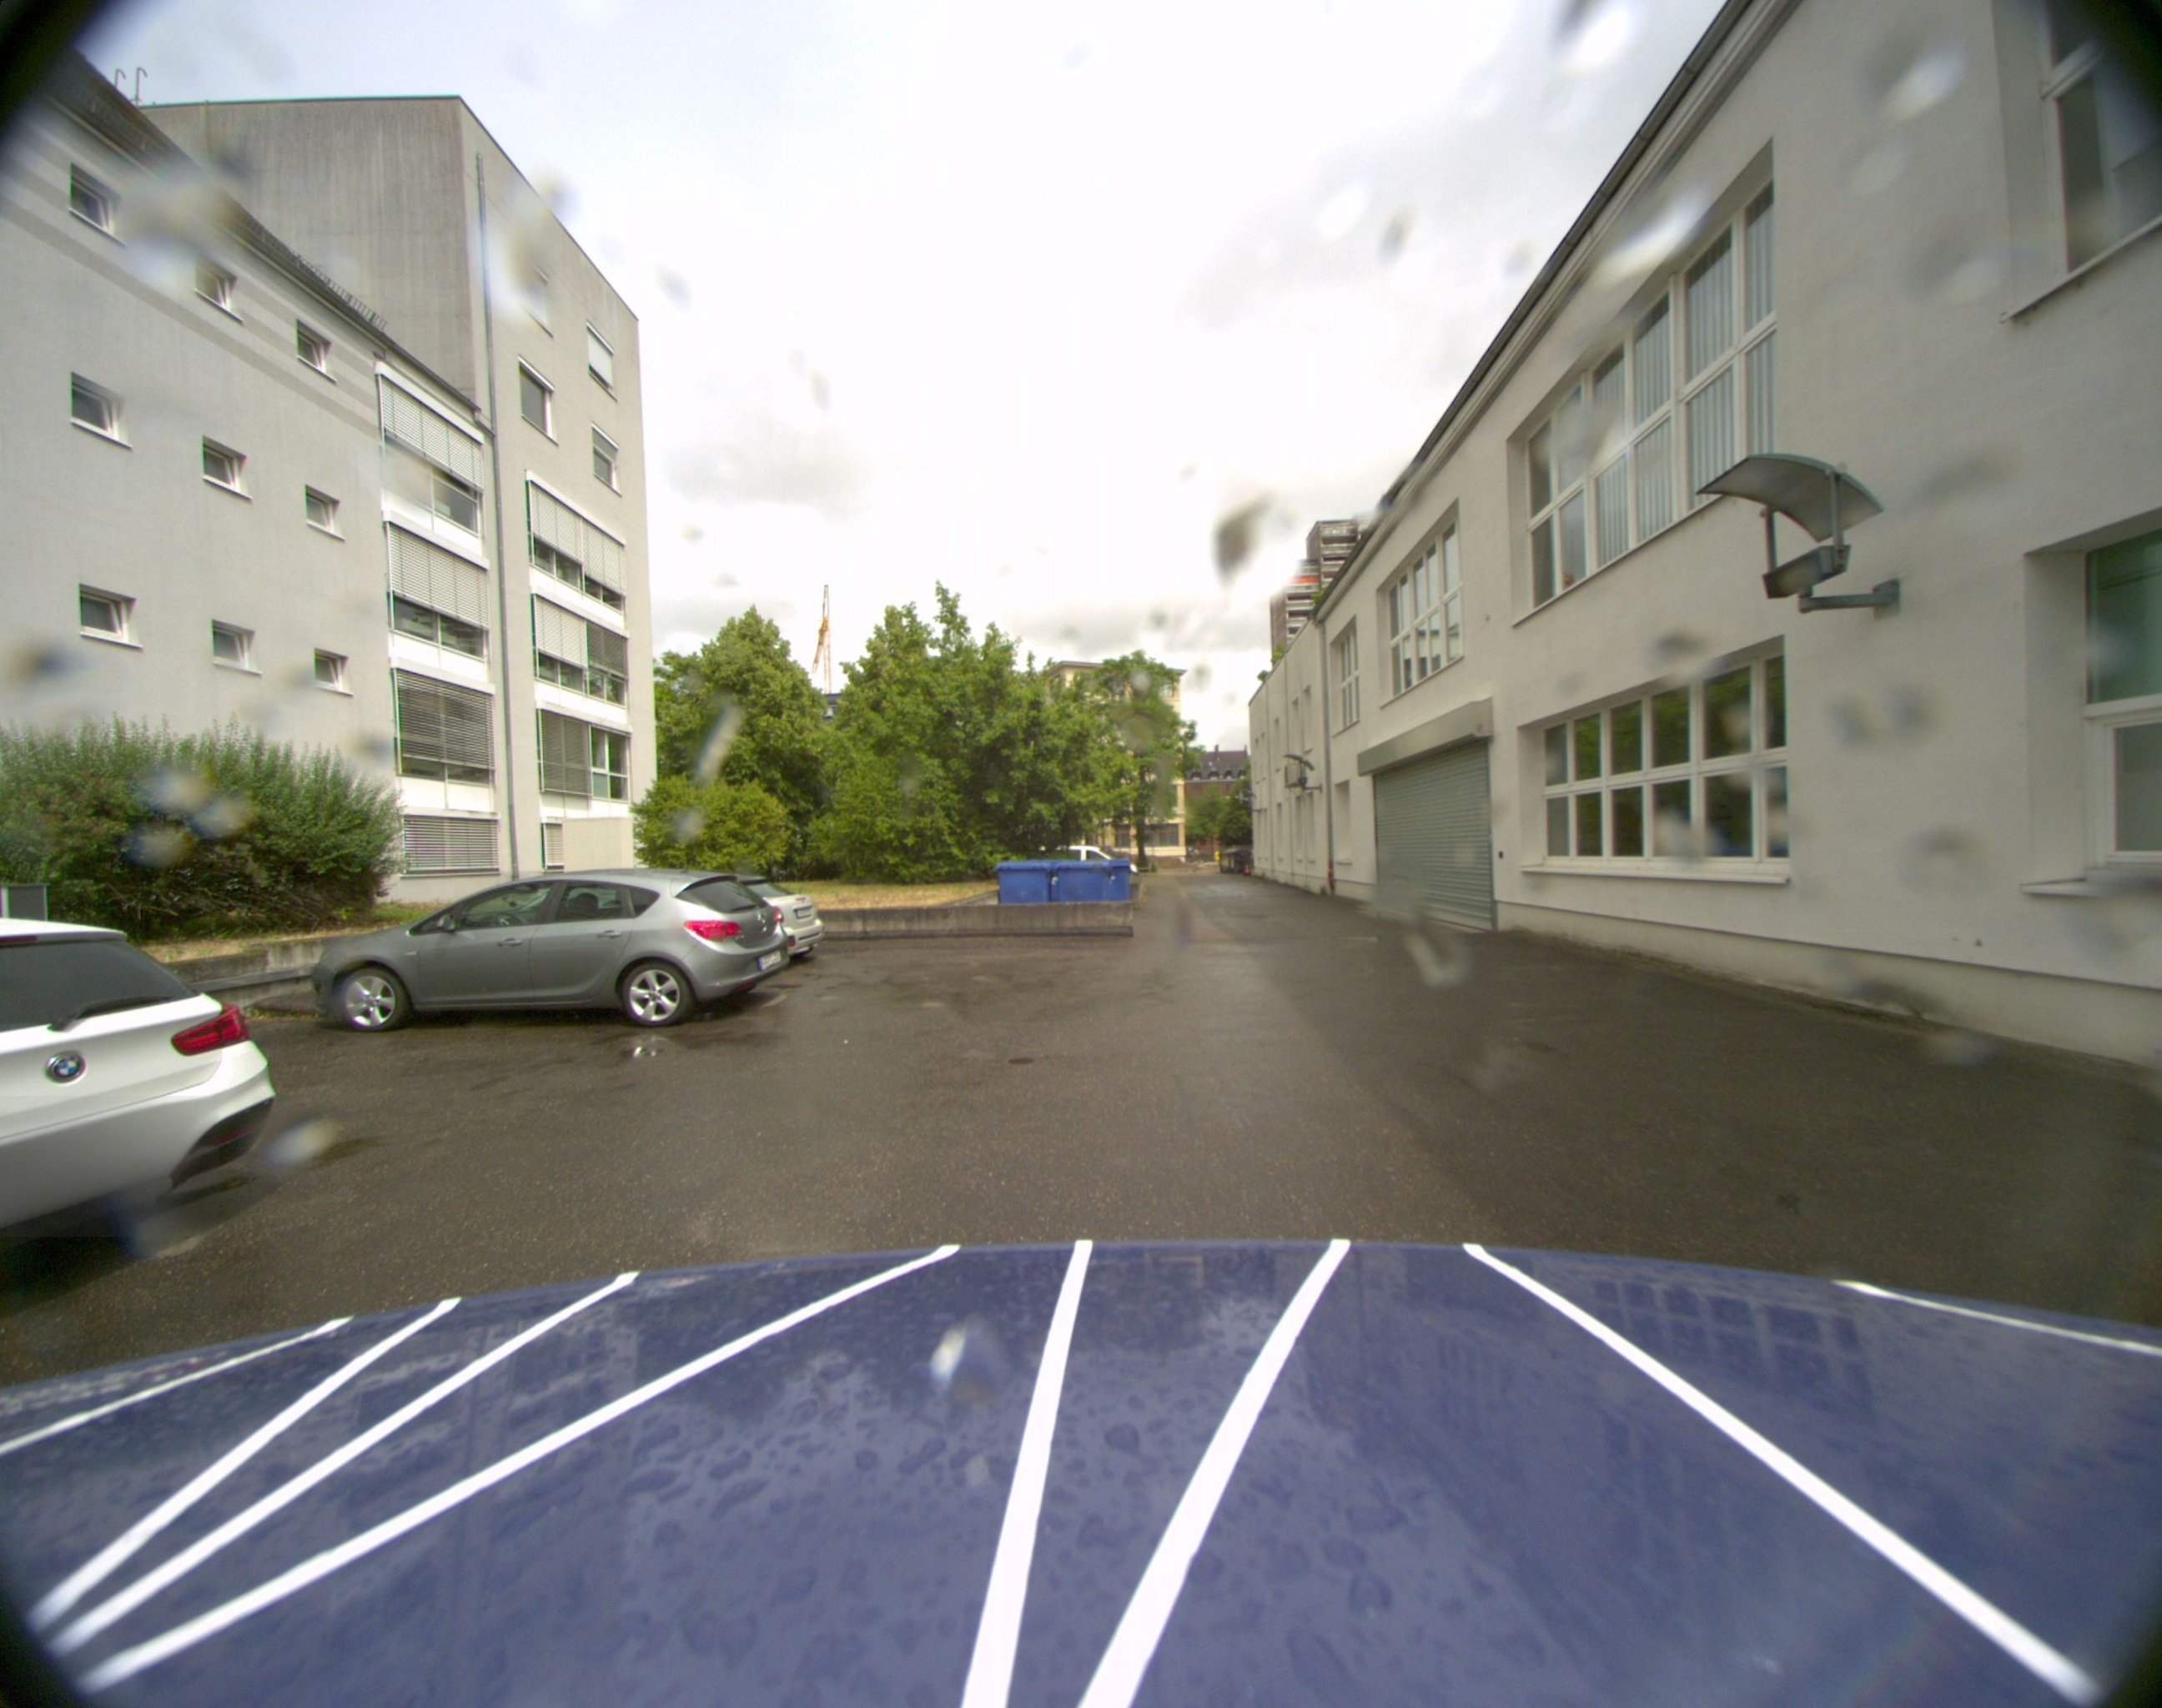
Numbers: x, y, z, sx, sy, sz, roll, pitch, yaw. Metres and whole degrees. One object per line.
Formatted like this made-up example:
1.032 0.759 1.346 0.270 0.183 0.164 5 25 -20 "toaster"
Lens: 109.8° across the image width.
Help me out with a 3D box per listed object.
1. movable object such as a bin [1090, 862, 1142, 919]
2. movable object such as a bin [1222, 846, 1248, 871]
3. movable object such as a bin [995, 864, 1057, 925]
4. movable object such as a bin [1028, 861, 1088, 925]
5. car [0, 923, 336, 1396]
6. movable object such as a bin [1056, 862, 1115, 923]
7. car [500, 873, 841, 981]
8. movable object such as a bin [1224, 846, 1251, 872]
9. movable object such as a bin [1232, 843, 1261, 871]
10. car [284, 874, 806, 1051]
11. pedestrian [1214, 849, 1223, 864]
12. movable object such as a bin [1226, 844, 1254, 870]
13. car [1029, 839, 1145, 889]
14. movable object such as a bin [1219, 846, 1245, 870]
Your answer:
0.894 0.898 18.926 1.177 1.309 1.056 -3 0 5 "movable object such as a bin"
9.604 0.287 47.481 1.362 1.462 1.465 -3 0 5 "movable object such as a bin"
-1.227 0.896 17.225 1.232 1.309 1.056 -1 0 5 "movable object such as a bin"
-0.558 0.948 18.774 1.278 1.474 1.102 -3 0 5 "movable object such as a bin"
-5.610 1.091 2.696 4.108 1.447 1.833 -1 1 1 "car"
0.116 0.850 17.170 1.232 1.309 1.056 -1 0 5 "movable object such as a bin"
-5.788 0.987 11.021 3.995 1.346 1.791 0 1 4 "car"
9.448 0.280 46.037 1.362 1.462 1.353 -3 0 5 "movable object such as a bin"
9.317 0.171 42.901 1.362 1.462 1.366 -3 0 5 "movable object such as a bin"
-5.180 1.016 7.738 4.089 1.450 1.668 -1 2 1 "car"
14.112 0.227 78.131 0.650 1.500 0.623 -2 0 -35 "pedestrian"
9.334 0.184 44.615 1.362 1.462 1.366 -3 0 5 "movable object such as a bin"
0.315 0.448 34.283 4.946 2.002 2.001 -2 1 8 "car"
9.719 0.280 49.088 1.412 1.462 1.561 -3 0 5 "movable object such as a bin"
